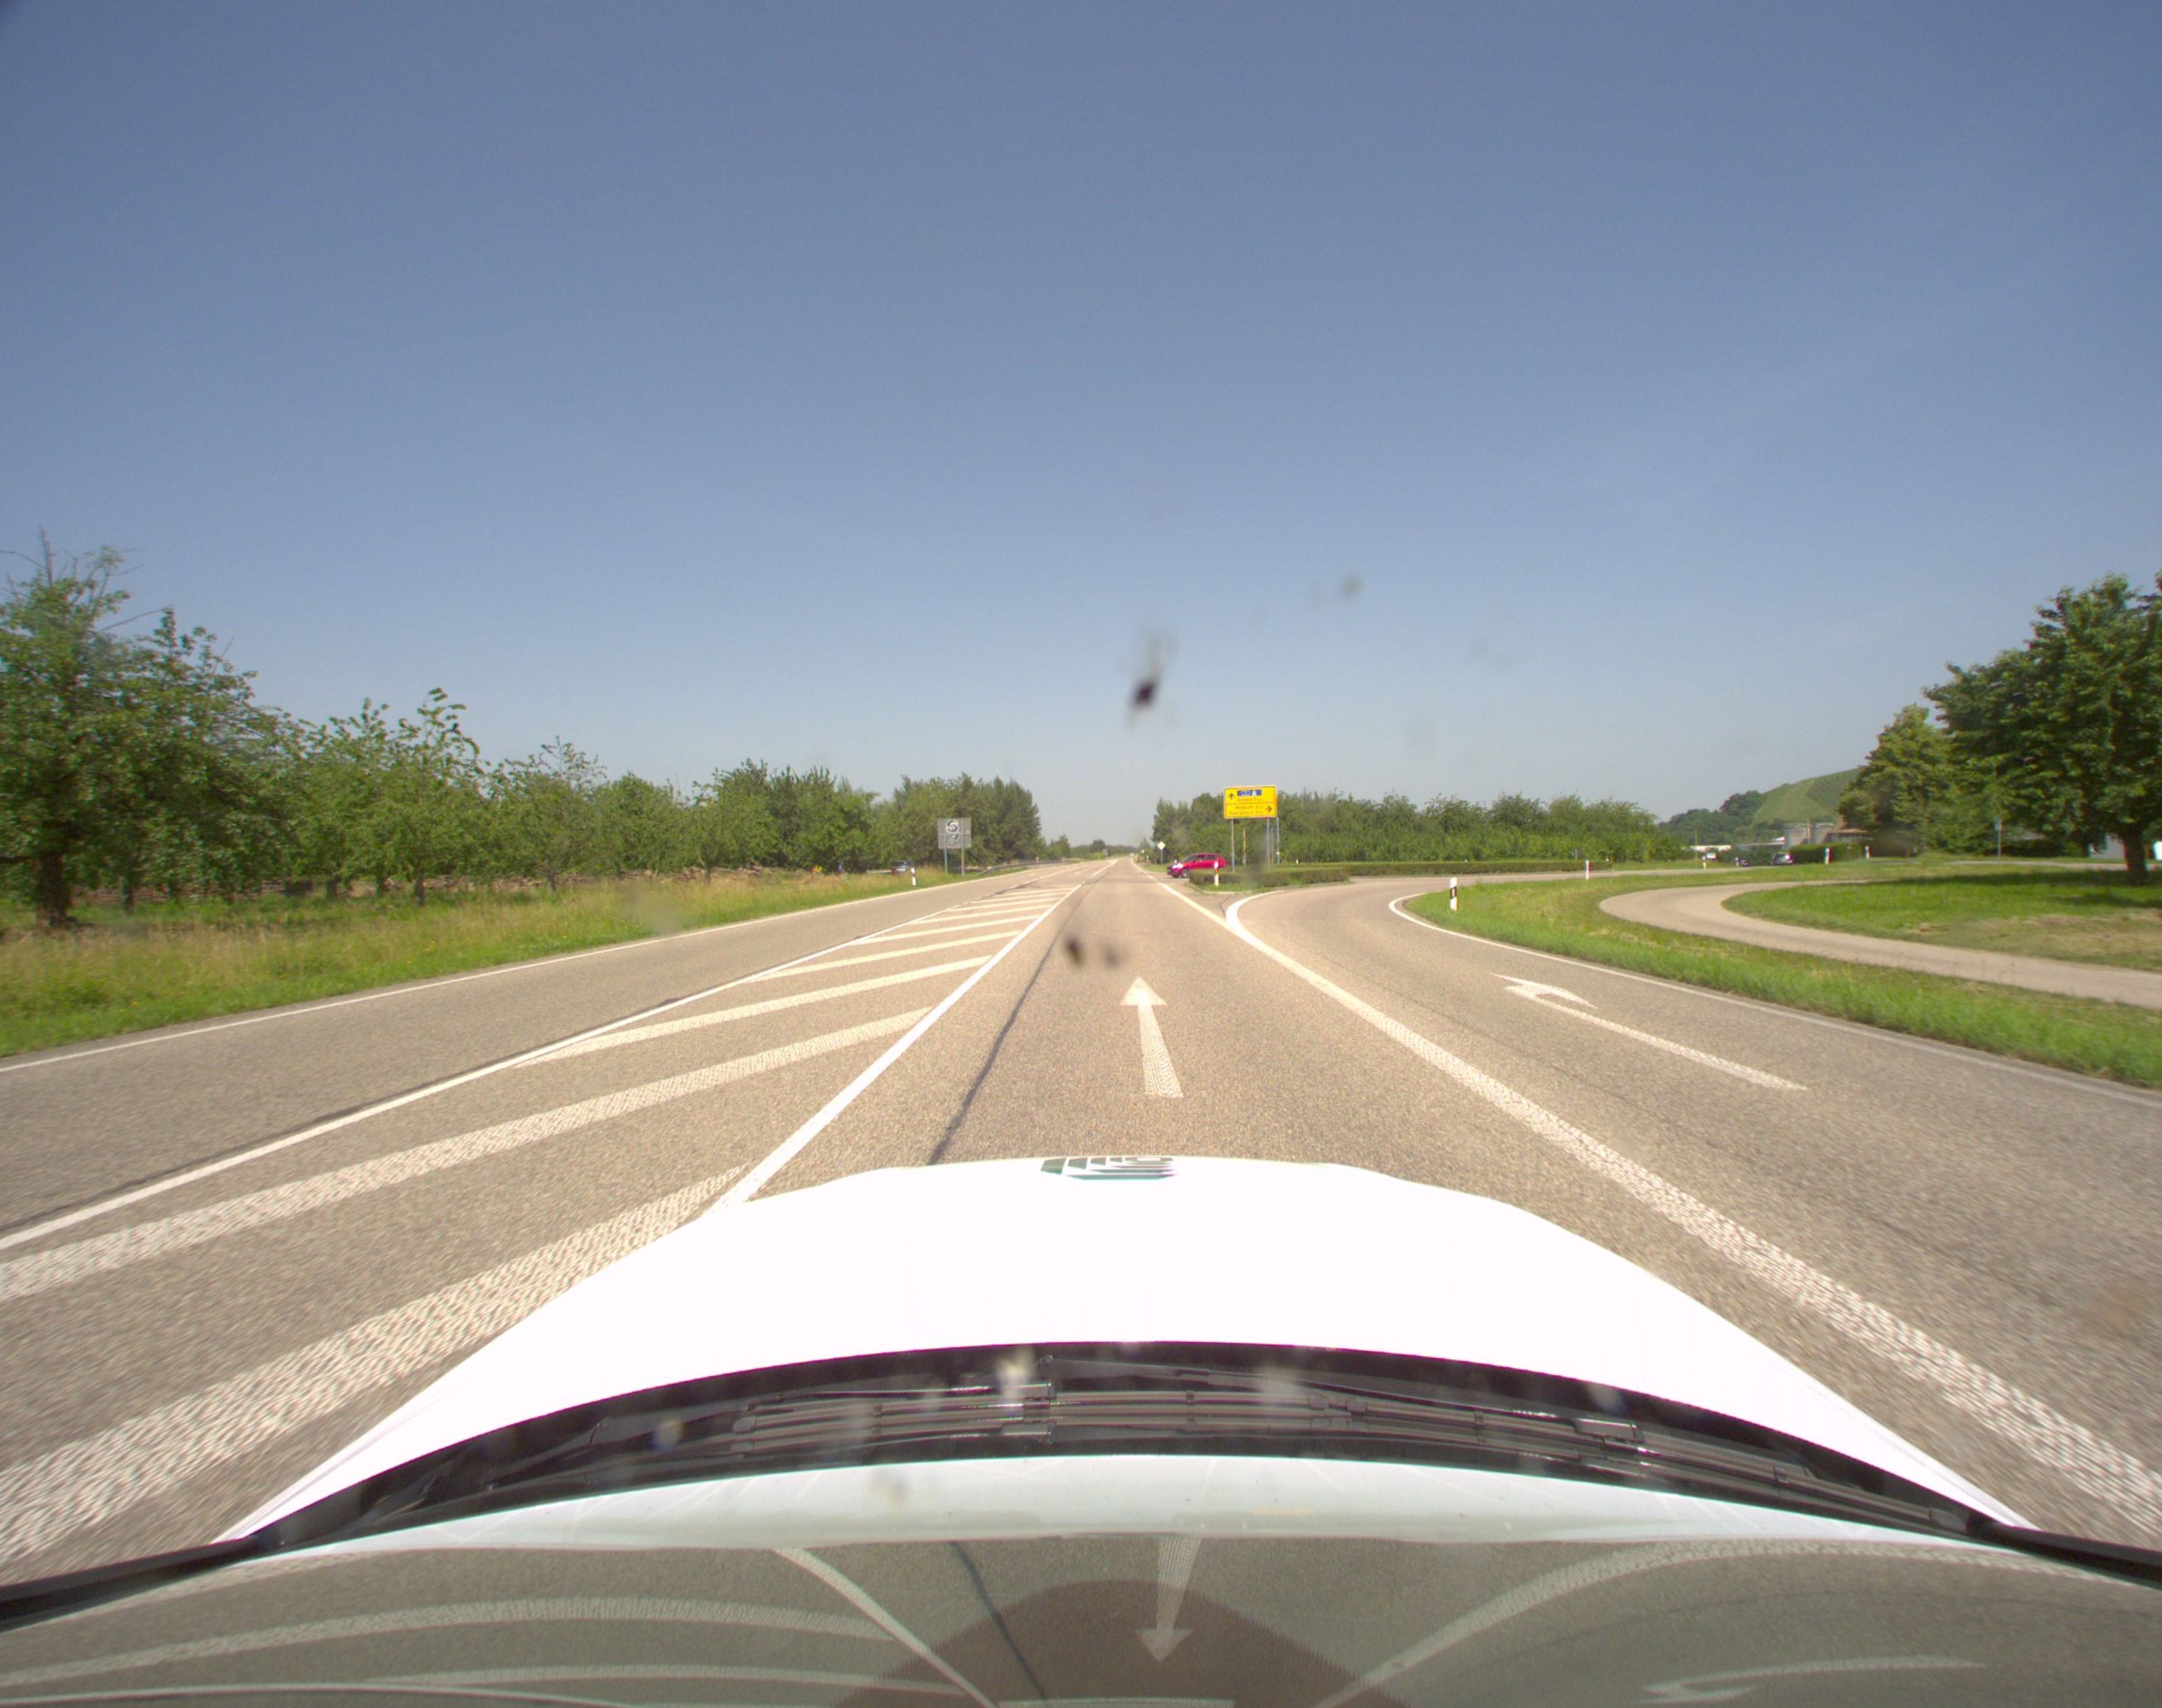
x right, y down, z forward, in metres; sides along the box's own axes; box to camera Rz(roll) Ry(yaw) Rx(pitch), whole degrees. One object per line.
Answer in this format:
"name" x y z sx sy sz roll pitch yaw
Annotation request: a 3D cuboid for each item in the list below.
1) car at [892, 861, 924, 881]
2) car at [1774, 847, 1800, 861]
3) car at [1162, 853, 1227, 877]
"car" -13.027 1.260 61.521 1.700 1.423 4.040 -2 0 -2
"car" 84.174 -0.011 97.113 1.768 1.684 4.026 -1 0 33
"car" 7.111 0.666 51.195 3.747 1.493 1.663 0 0 -15
